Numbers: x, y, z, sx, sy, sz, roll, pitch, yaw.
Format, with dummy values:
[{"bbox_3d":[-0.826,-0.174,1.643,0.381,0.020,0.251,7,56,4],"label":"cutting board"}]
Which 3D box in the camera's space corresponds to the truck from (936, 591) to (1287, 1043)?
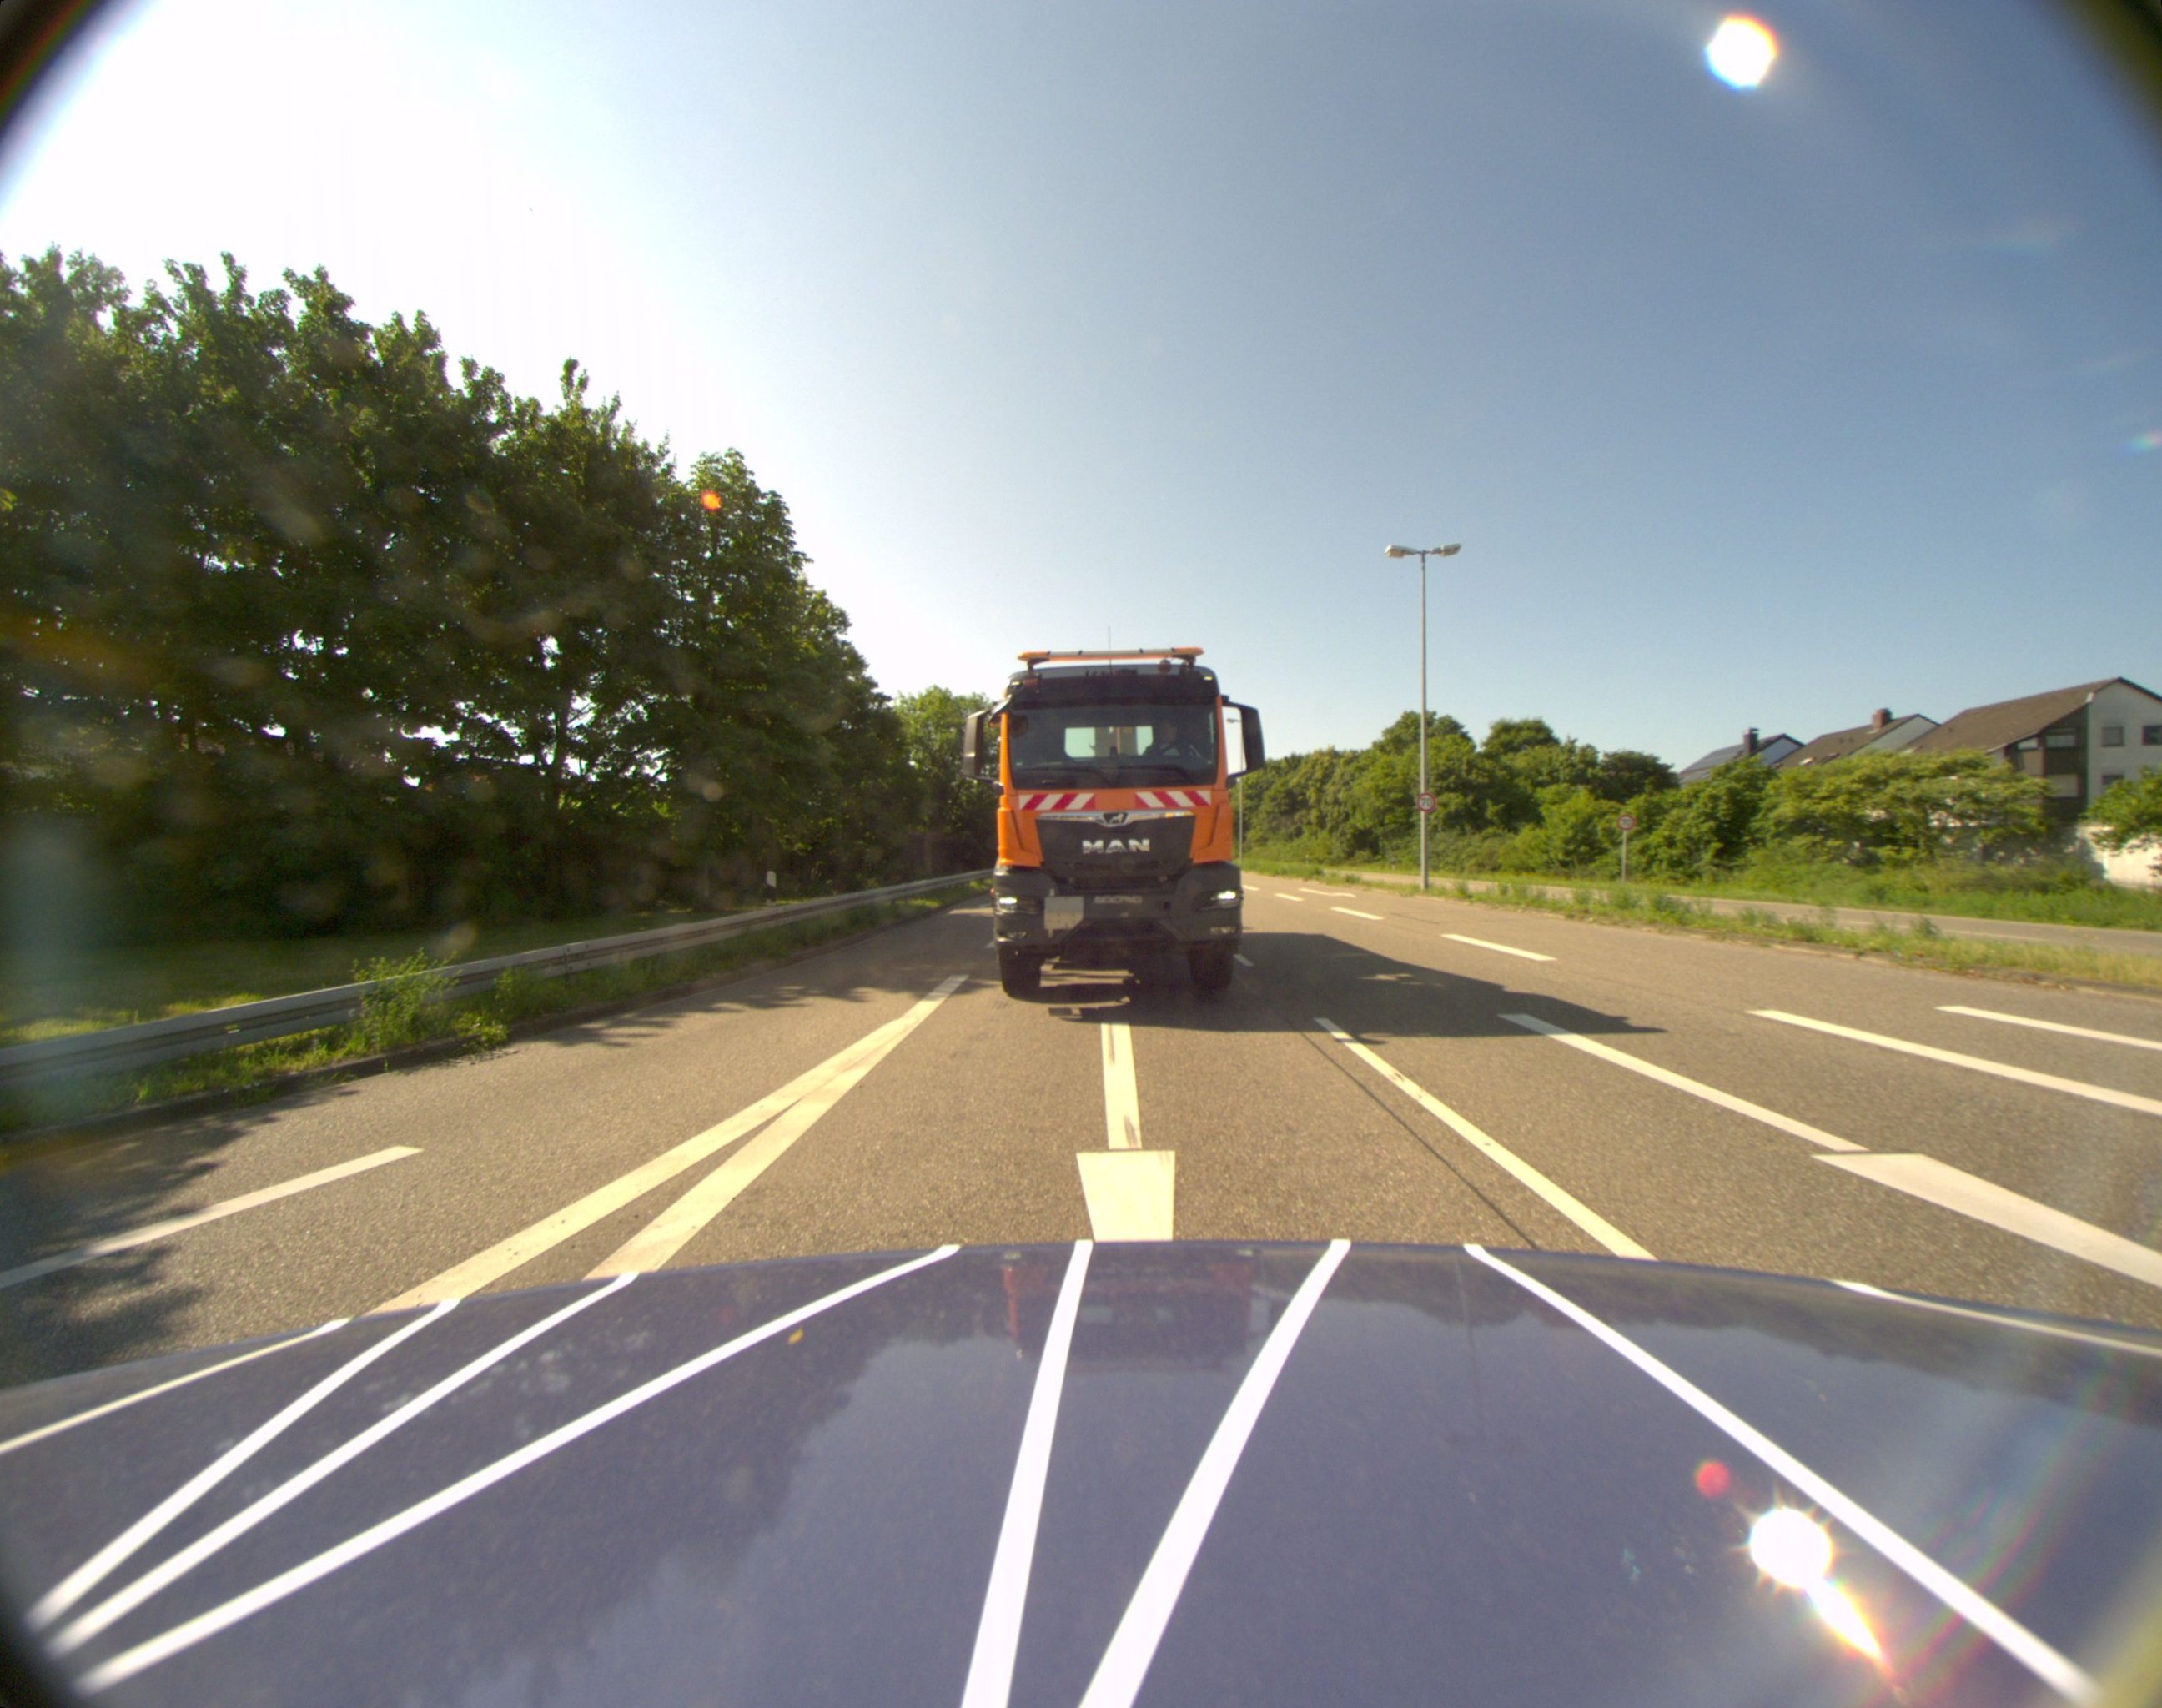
[{"bbox_3d":[0.402,-0.350,9.962,2.940,3.853,6.591,-2,1,2],"label":"truck"}]
